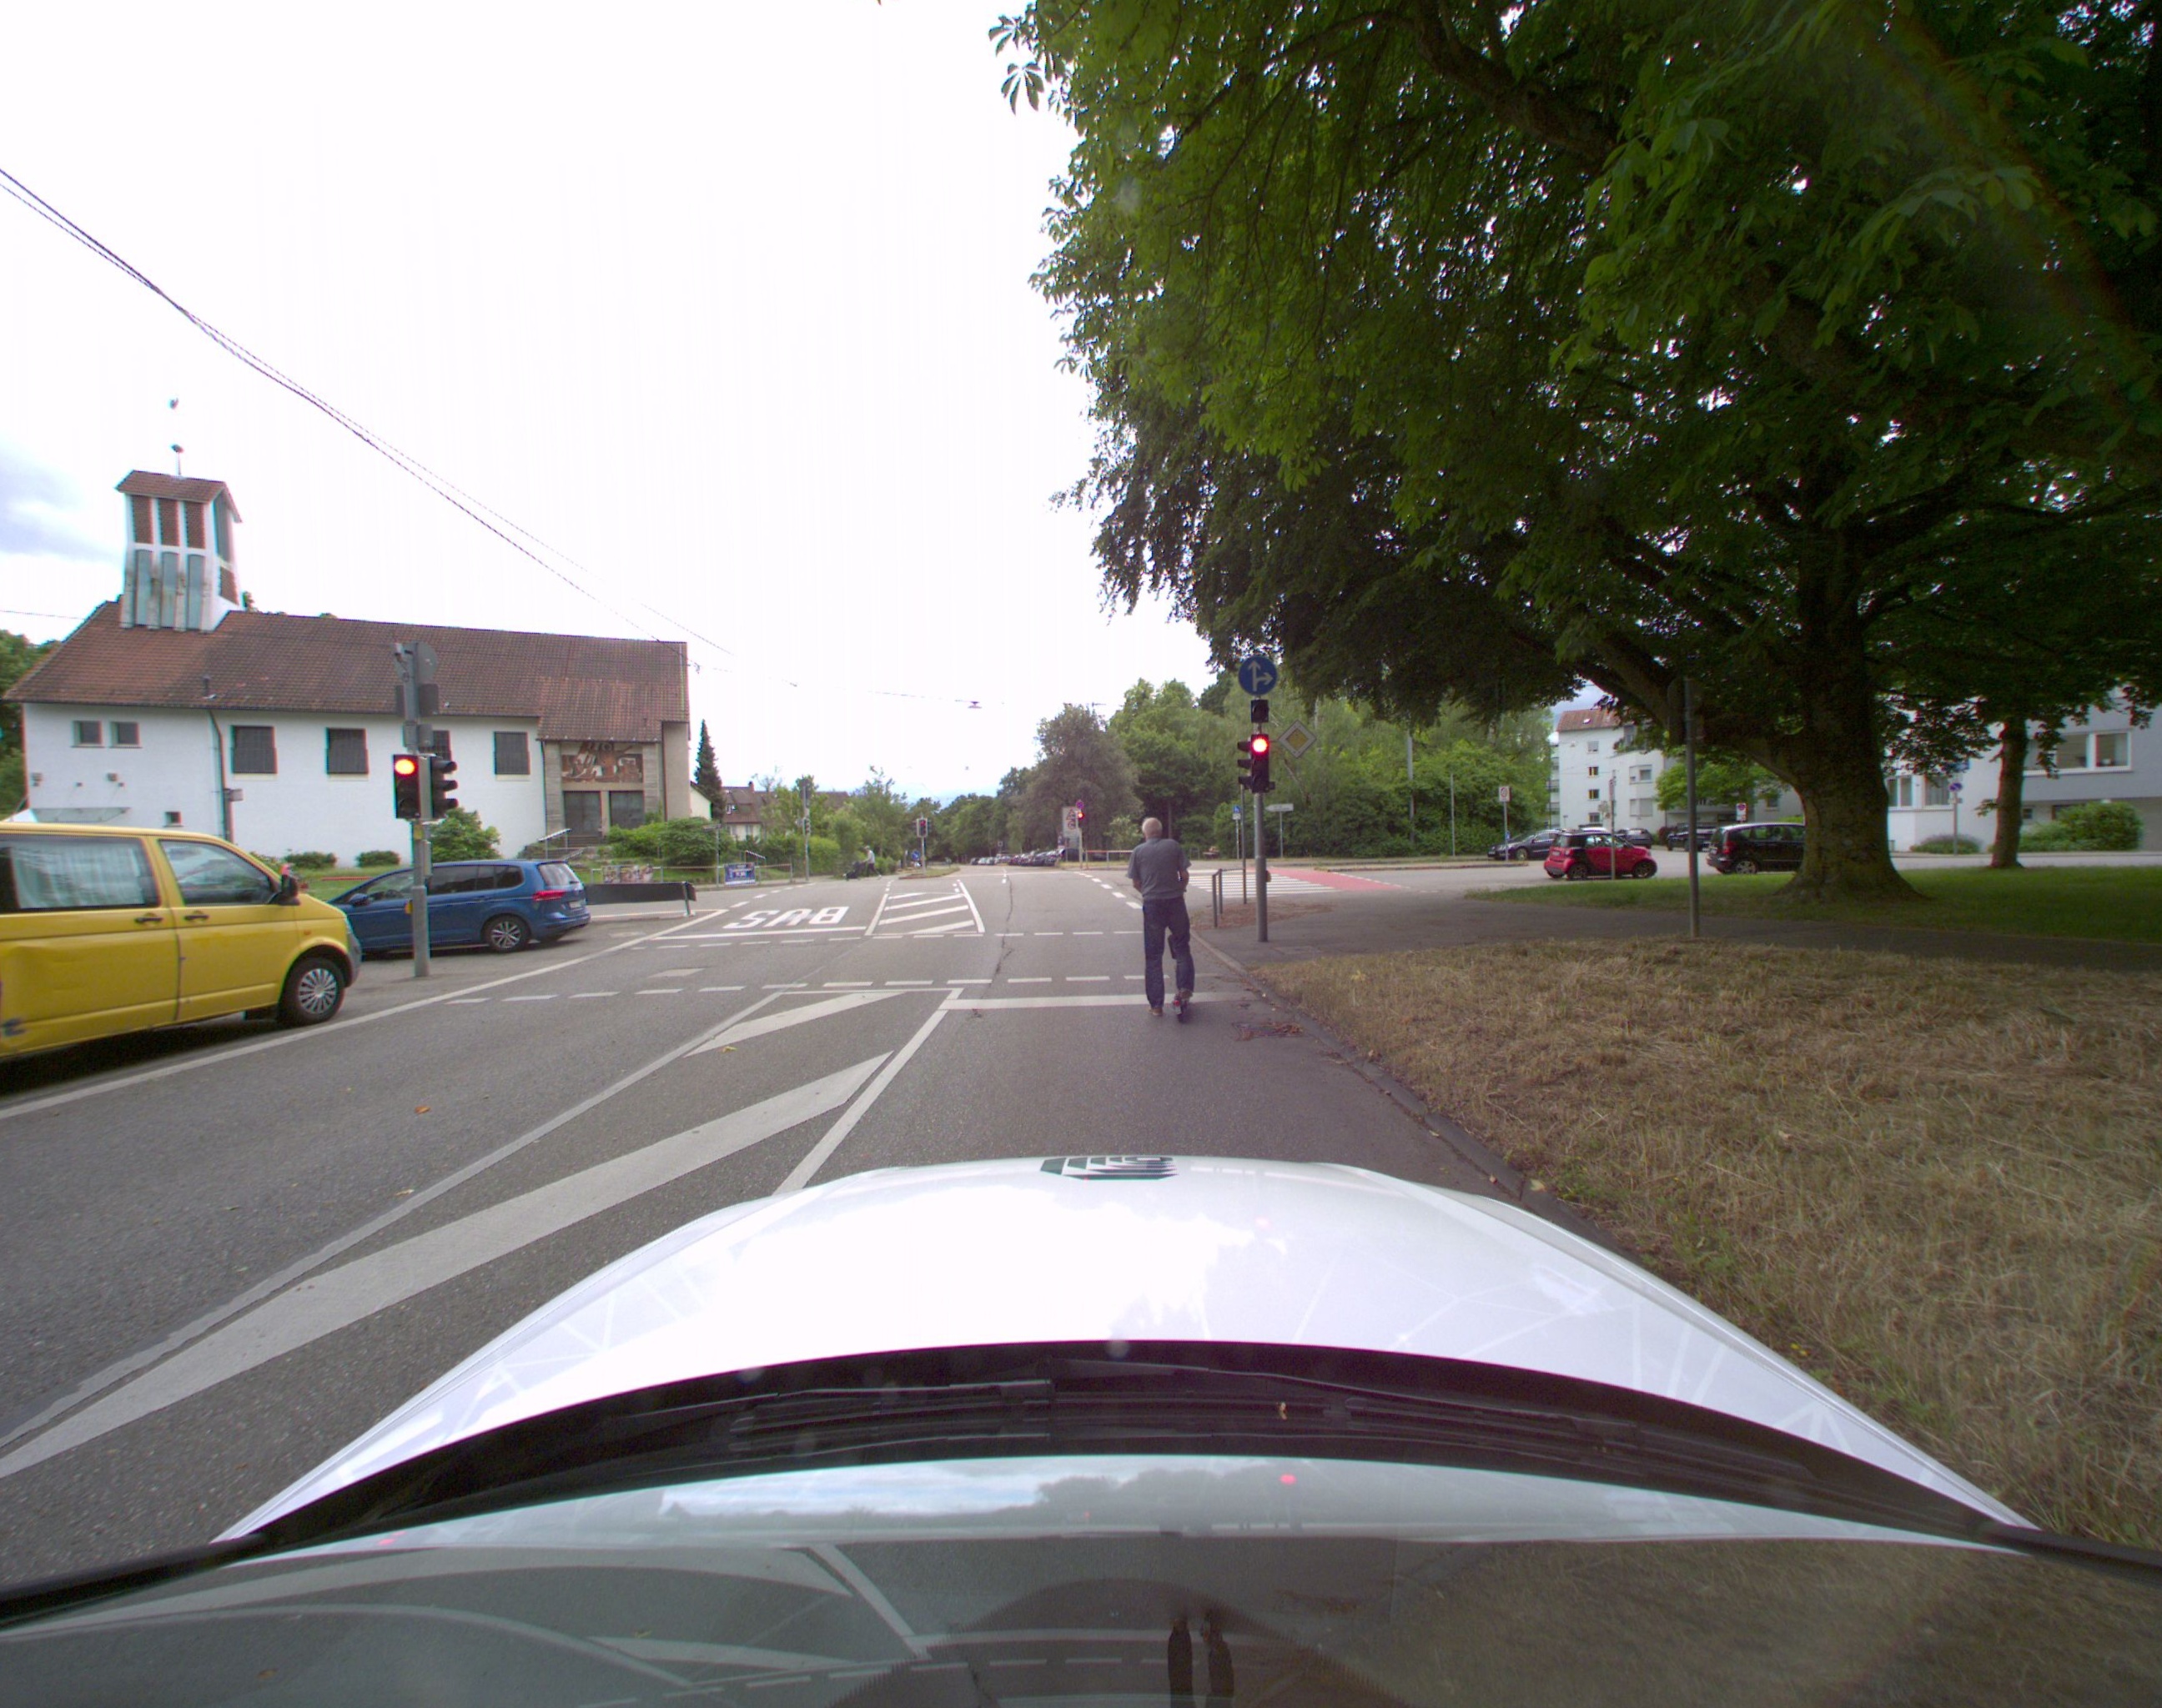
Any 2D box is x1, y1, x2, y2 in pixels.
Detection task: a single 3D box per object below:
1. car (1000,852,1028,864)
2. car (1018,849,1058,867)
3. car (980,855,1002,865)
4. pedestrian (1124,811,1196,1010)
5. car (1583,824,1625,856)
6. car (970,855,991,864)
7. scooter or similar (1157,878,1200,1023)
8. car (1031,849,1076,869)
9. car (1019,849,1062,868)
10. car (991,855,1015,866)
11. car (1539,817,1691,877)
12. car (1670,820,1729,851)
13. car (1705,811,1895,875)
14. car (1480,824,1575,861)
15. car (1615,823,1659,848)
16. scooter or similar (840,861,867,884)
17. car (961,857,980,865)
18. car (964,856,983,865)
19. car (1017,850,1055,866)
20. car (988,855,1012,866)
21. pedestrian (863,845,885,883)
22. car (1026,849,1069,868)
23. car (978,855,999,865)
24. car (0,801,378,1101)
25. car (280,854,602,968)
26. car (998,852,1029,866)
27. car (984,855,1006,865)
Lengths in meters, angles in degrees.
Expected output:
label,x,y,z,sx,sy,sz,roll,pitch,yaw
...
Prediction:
label,x,y,z,sx,sy,sz,roll,pitch,yaw
car,-10.118,0.637,122.352,3.856,1.610,1.716,-3,0,-21
car,-4.596,0.427,86.950,3.856,1.610,1.716,-3,0,-21
car,-17.314,1.139,156.858,3.856,1.610,1.716,-3,0,-21
pedestrian,0.751,0.520,7.672,0.569,1.813,0.421,-2,0,10
car,28.785,-0.791,44.888,1.706,1.610,3.878,-3,1,30
car,-20.489,1.158,166.578,3.856,1.610,1.716,-3,0,-21
scooter or similar,0.914,0.840,7.491,0.280,1.178,1.180,-2,0,10
car,-2.588,0.464,77.004,3.857,1.610,1.715,-3,0,-22
car,-4.045,0.449,81.619,3.856,1.610,1.716,-3,0,-21
car,-13.382,1.138,139.637,3.856,1.610,1.716,-3,0,-21
car,16.523,-0.210,25.354,3.499,1.610,1.732,-3,0,7
car,35.568,-1.072,46.921,1.707,1.610,3.875,-3,1,22
car,20.829,-0.299,23.796,3.805,1.610,1.739,-3,1,27
car,21.110,-0.563,38.597,3.498,1.530,1.732,-3,0,8
car,38.955,-1.280,57.131,1.707,1.610,3.875,-3,1,22
scooter or similar,-11.331,0.902,40.576,1.115,1.081,0.572,-2,0,-31
car,-24.220,1.544,178.806,3.856,1.610,1.716,-3,0,-21
car,-23.307,1.452,176.445,3.856,1.610,1.716,-3,0,-21
car,-4.928,0.433,89.372,3.856,1.610,1.716,-3,0,-21
car,-14.321,1.147,143.338,3.856,1.610,1.716,-3,0,-21
pedestrian,-10.460,0.495,41.131,0.890,1.862,0.568,-2,0,-33
car,-3.275,0.474,79.564,3.856,1.610,1.716,-3,0,-21
car,-18.139,1.144,159.450,3.856,1.610,1.716,-3,0,-21
car,-8.303,0.683,6.338,1.880,2.013,4.558,-2,0,-5
car,-11.068,0.916,14.423,3.992,1.610,1.810,-3,0,-14
car,-9.046,0.684,109.348,3.856,1.610,1.716,-3,0,-21
car,-16.336,1.176,154.699,3.856,1.610,1.716,-3,0,-21
